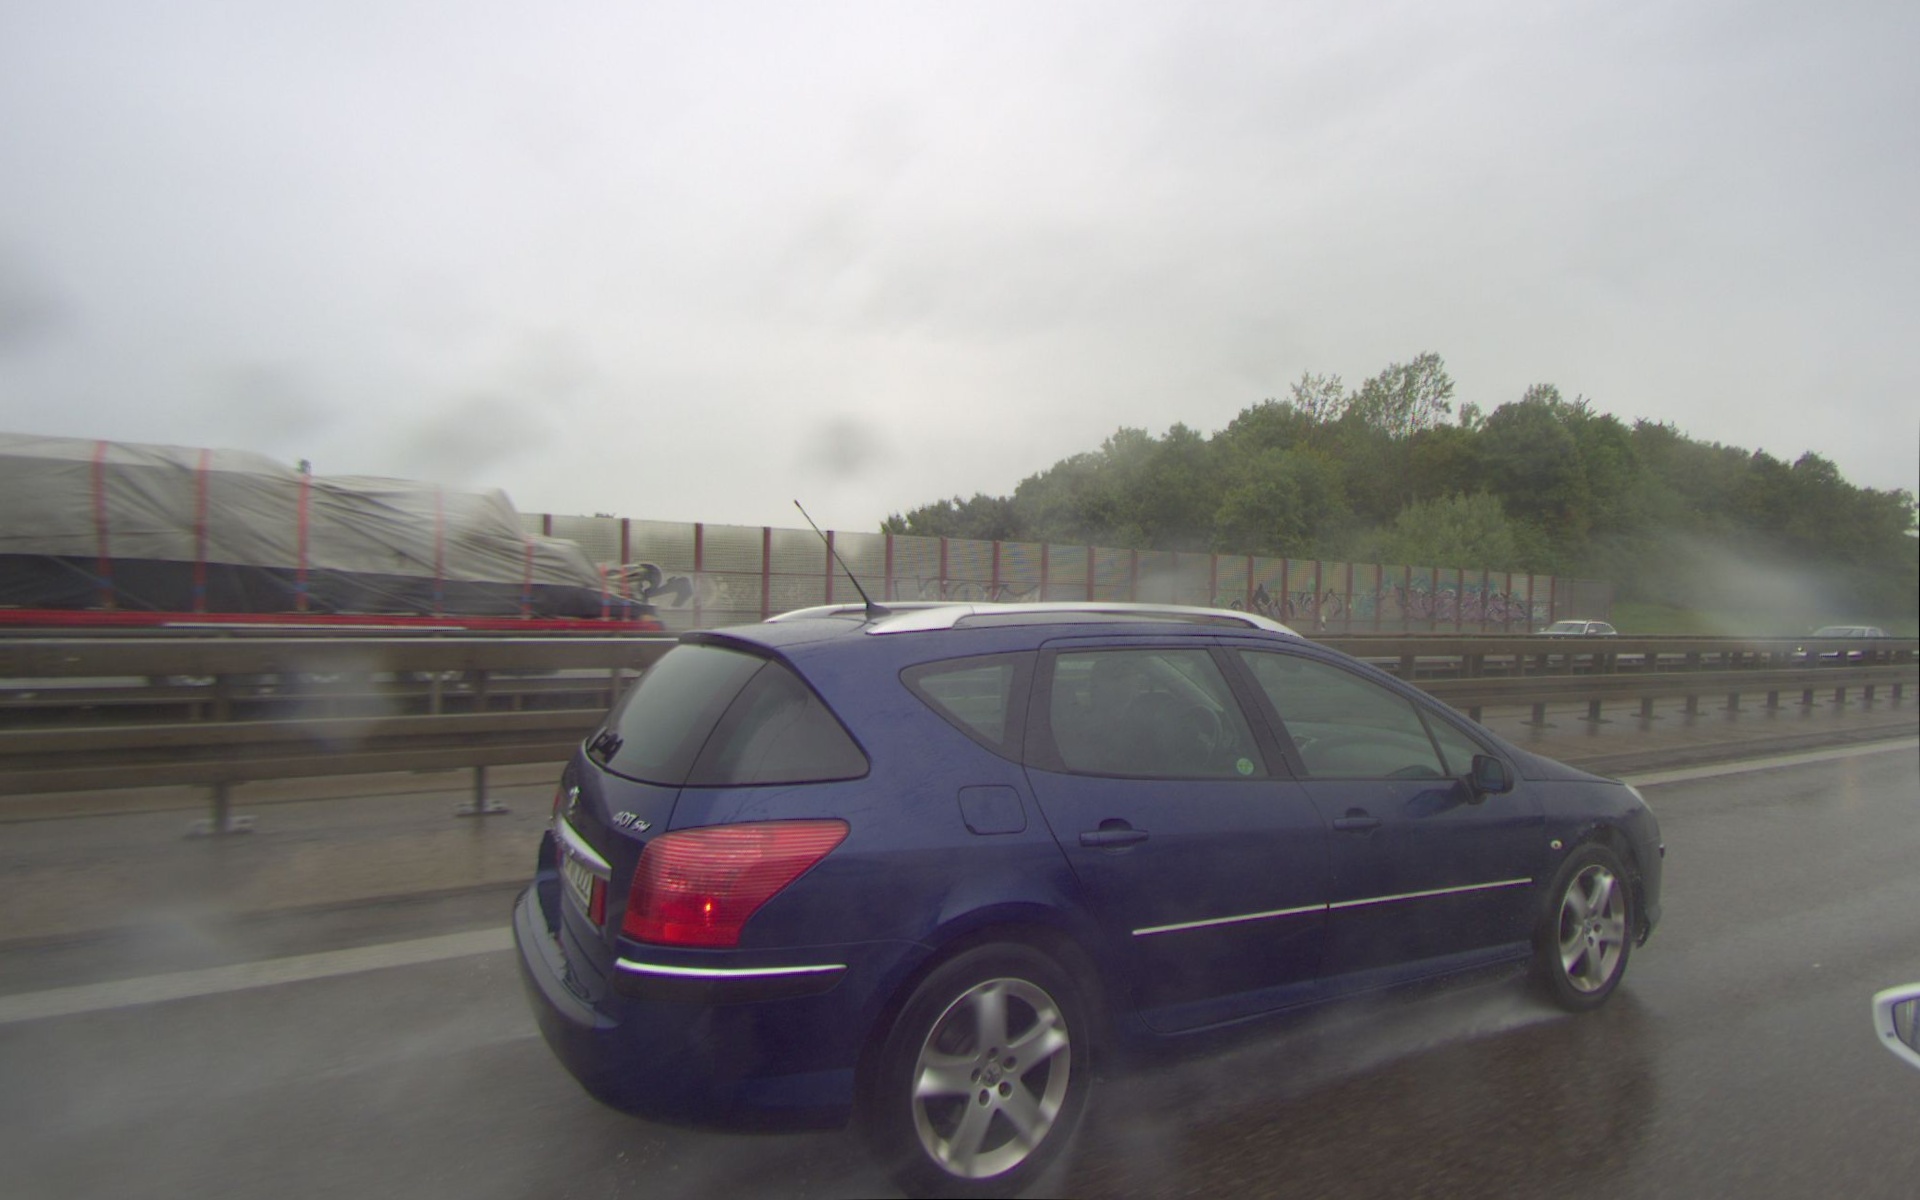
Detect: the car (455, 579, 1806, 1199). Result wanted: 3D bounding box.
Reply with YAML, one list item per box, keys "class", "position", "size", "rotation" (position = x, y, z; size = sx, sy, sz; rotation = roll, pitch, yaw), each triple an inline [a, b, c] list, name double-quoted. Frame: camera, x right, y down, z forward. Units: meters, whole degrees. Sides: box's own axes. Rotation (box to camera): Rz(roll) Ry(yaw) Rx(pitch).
- class: "car"
  position: [0.933, 0.743, 3.926]
  size: [5.097, 1.505, 2.044]
  rotation: [1, 0, -30]

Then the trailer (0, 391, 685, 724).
- class: "trailer"
  position: [-10.621, -0.449, 12.787]
  size: [13.416, 3.660, 3.056]
  rotation: [1, -1, -31]

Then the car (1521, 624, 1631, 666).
- class: "car"
  position: [24.093, 1.744, 39.240]
  size: [4.678, 1.491, 1.972]
  rotation: [2, -1, -35]

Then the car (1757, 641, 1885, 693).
- class: "car"
  position: [28.078, 2.135, 32.717]
  size: [4.676, 1.491, 1.973]
  rotation: [1, -1, -33]
